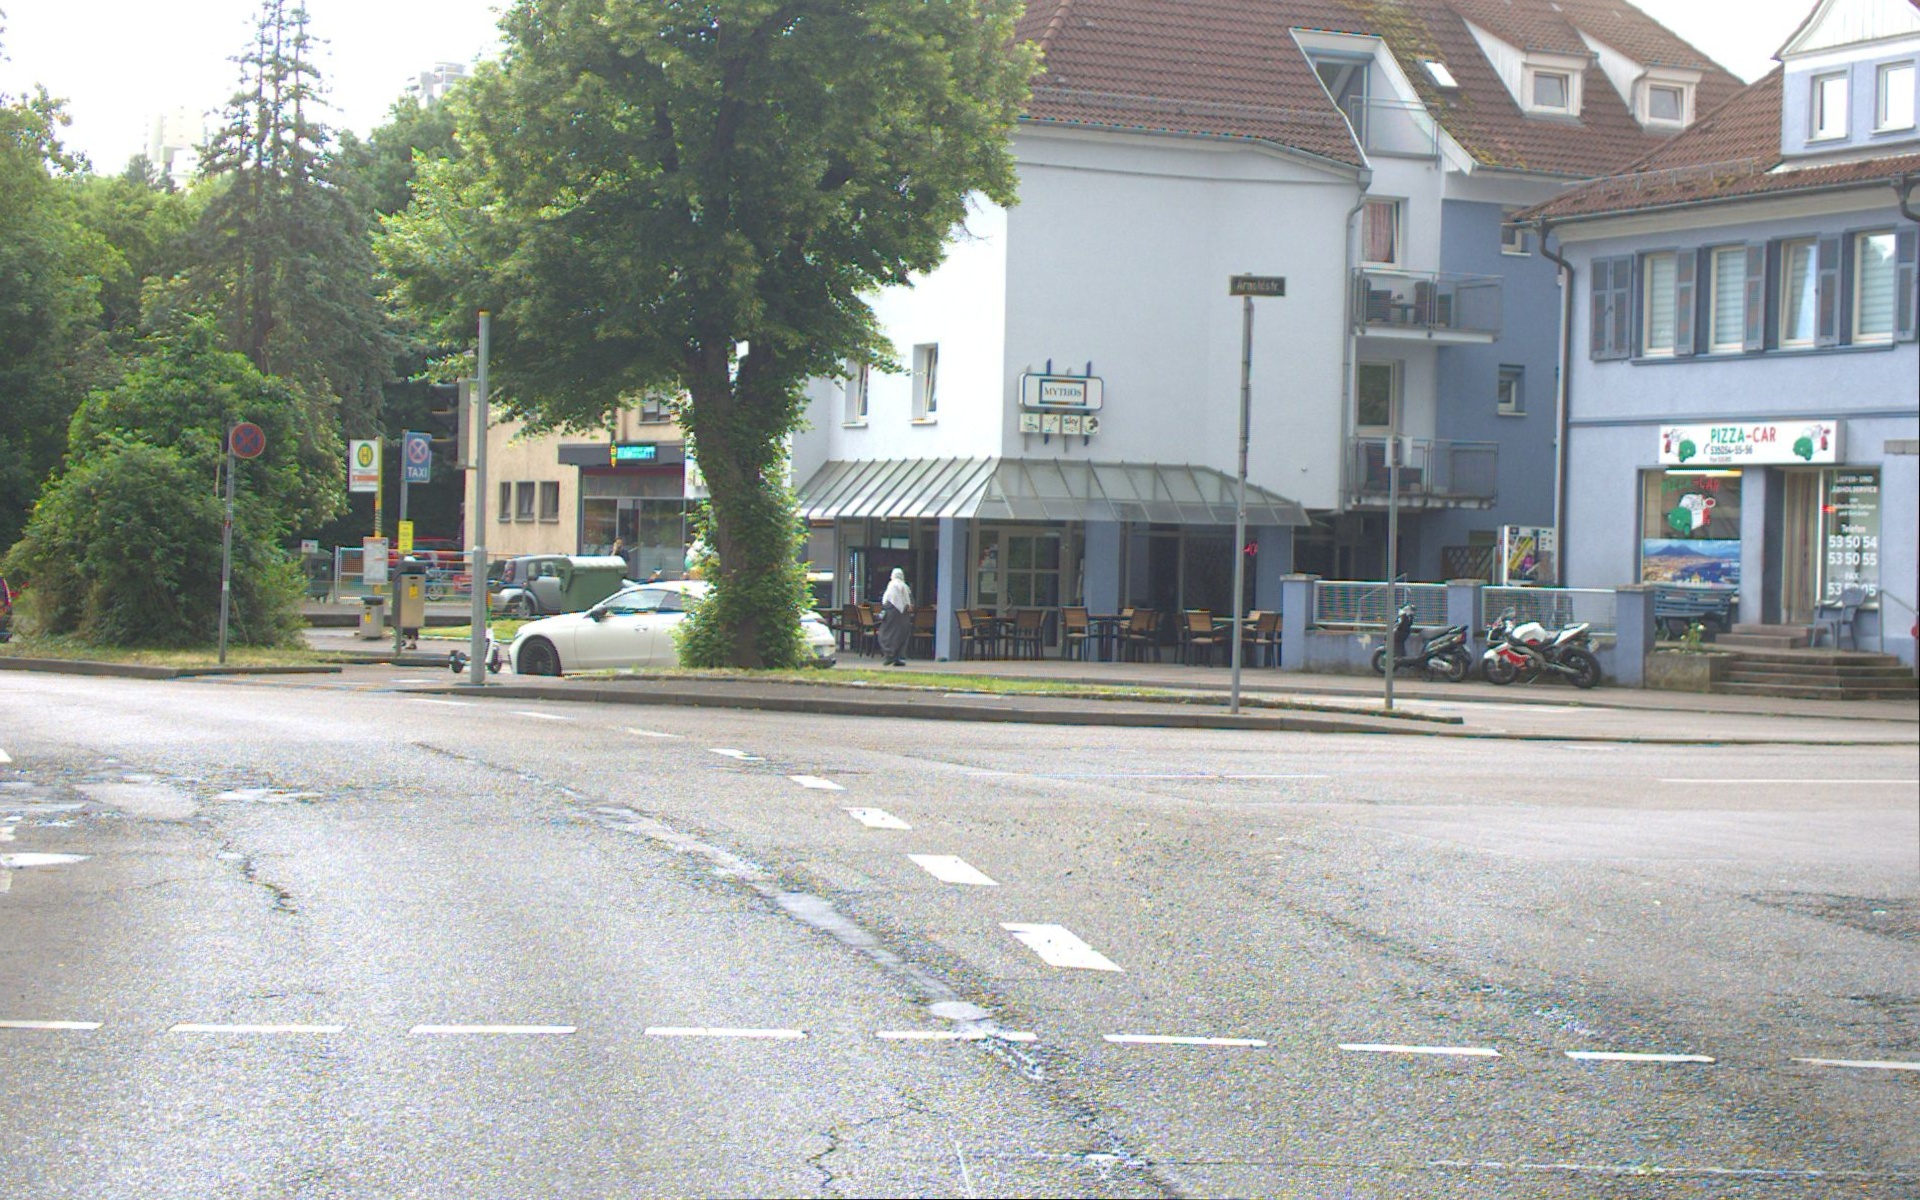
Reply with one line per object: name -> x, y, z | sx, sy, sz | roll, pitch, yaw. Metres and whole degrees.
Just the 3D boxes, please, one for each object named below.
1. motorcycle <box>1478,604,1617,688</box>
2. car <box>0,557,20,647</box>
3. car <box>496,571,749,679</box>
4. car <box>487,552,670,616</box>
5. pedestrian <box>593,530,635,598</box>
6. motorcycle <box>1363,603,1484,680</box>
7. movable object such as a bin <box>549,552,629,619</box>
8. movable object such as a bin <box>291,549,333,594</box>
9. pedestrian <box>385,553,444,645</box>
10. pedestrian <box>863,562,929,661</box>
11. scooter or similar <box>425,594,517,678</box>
motorcycle -> 8.259, 0.636, 48.381 | 1.798, 1.118, 0.693 | 2, 1, 38
car -> -16.511, -0.010, 53.724 | 3.590, 1.389, 1.469 | 2, 1, 32
car -> -4.529, 0.318, 46.044 | 3.171, 1.350, 1.436 | 2, 1, 35
car -> -8.422, -0.360, 75.873 | 3.733, 1.340, 1.434 | 1, 1, -26
pedestrian -> -7.928, -0.822, 78.842 | 0.676, 1.539, 0.708 | 1, 1, -34
motorcycle -> 6.754, 0.598, 50.160 | 1.636, 1.060, 0.693 | 2, 1, 44
movable object such as a bin -> -7.979, -0.319, 73.976 | 1.440, 1.404, 0.967 | 1, 1, -27
movable object such as a bin -> -16.242, -0.725, 86.169 | 0.950, 1.111, 0.383 | 1, 1, -21
pedestrian -> -9.300, -0.018, 58.623 | 0.707, 1.539, 0.677 | 2, 1, 40
pedestrian -> -1.008, 0.176, 54.311 | 0.768, 1.539, 0.677 | 1, 1, 39
scooter or similar -> -6.057, 0.434, 42.651 | 0.417, 1.008, 1.565 | 1, 1, 20
